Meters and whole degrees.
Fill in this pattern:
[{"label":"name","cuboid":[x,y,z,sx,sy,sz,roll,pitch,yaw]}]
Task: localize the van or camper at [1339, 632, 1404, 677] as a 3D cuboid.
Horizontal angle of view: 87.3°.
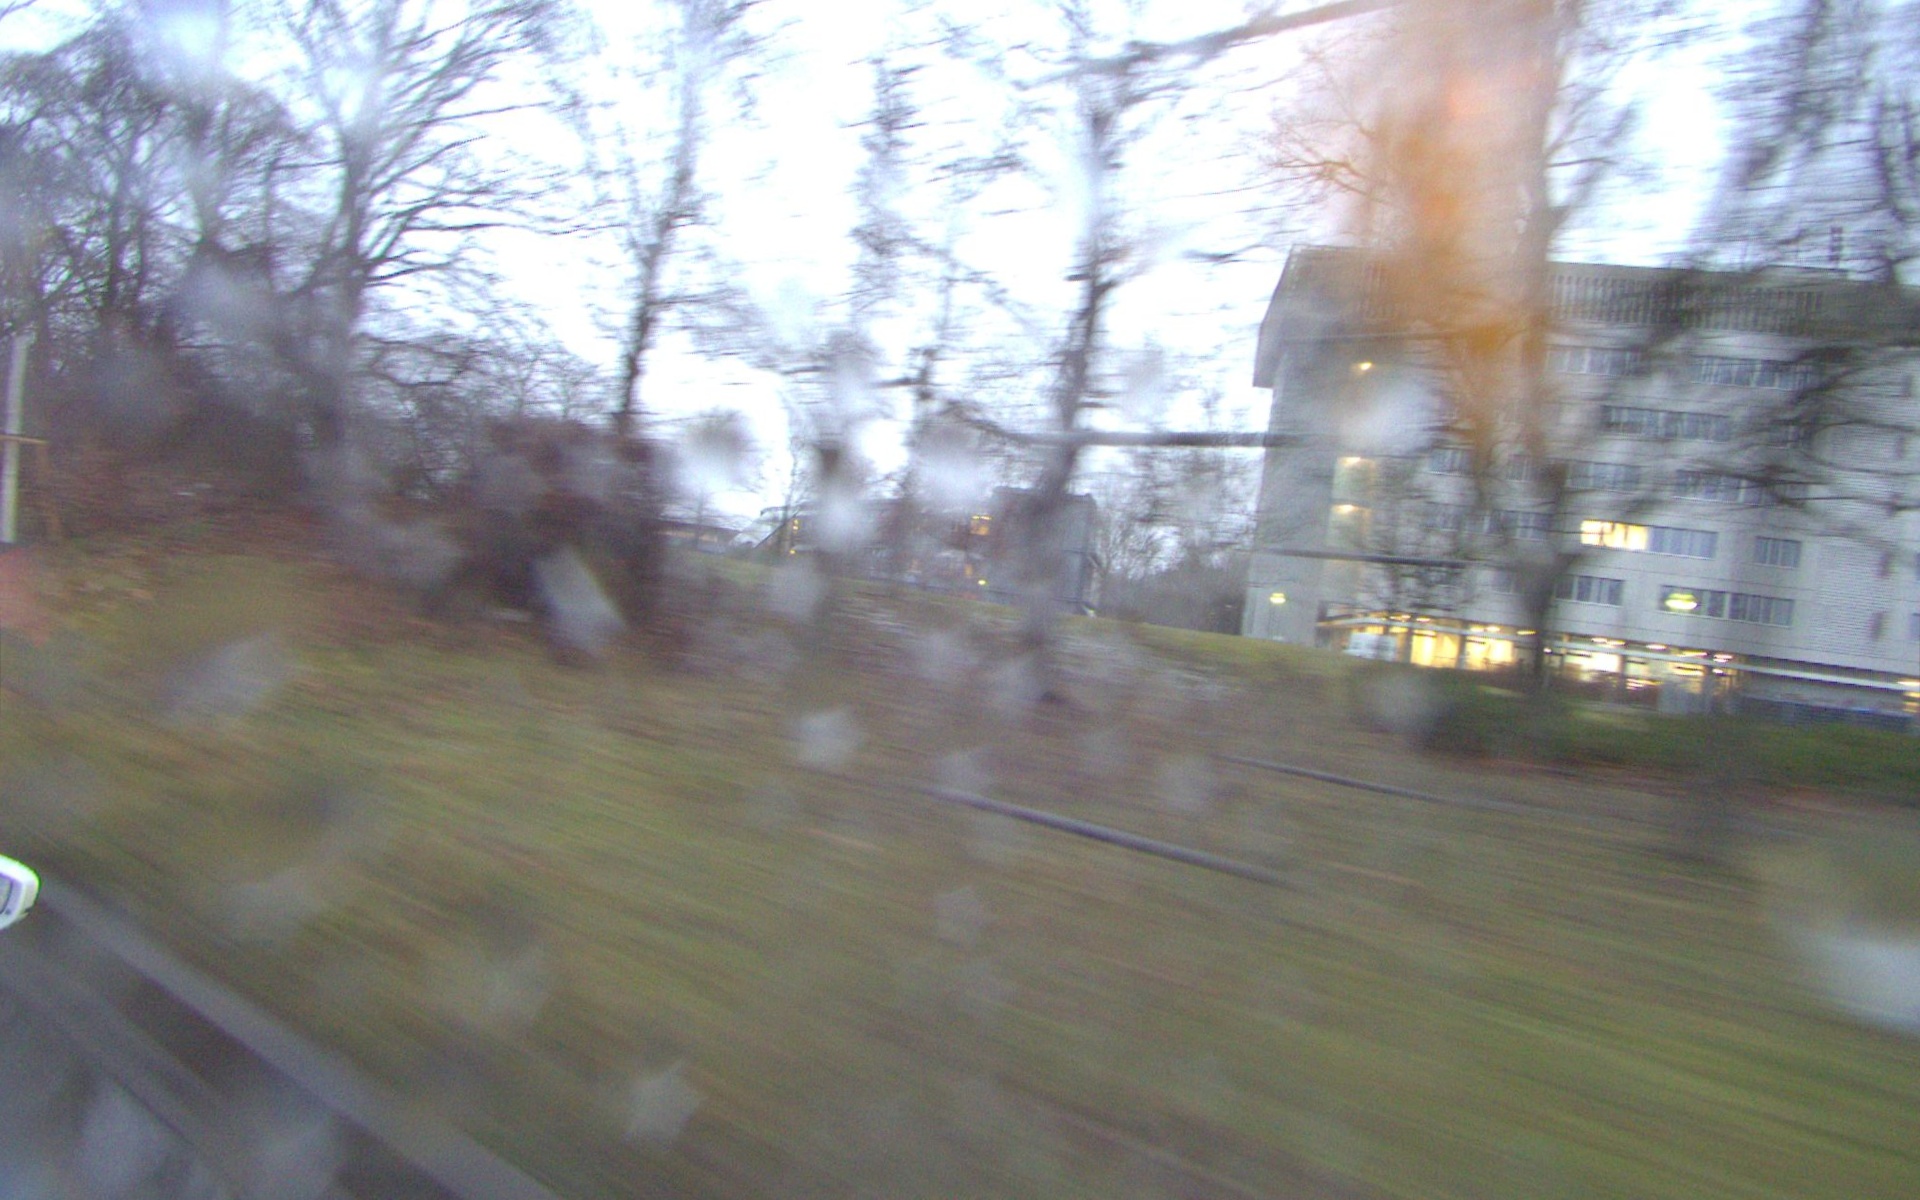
[{"label":"van or camper","cuboid":[25.138,3.272,61.611,2.095,2.374,4.479,7,0,3]}]
